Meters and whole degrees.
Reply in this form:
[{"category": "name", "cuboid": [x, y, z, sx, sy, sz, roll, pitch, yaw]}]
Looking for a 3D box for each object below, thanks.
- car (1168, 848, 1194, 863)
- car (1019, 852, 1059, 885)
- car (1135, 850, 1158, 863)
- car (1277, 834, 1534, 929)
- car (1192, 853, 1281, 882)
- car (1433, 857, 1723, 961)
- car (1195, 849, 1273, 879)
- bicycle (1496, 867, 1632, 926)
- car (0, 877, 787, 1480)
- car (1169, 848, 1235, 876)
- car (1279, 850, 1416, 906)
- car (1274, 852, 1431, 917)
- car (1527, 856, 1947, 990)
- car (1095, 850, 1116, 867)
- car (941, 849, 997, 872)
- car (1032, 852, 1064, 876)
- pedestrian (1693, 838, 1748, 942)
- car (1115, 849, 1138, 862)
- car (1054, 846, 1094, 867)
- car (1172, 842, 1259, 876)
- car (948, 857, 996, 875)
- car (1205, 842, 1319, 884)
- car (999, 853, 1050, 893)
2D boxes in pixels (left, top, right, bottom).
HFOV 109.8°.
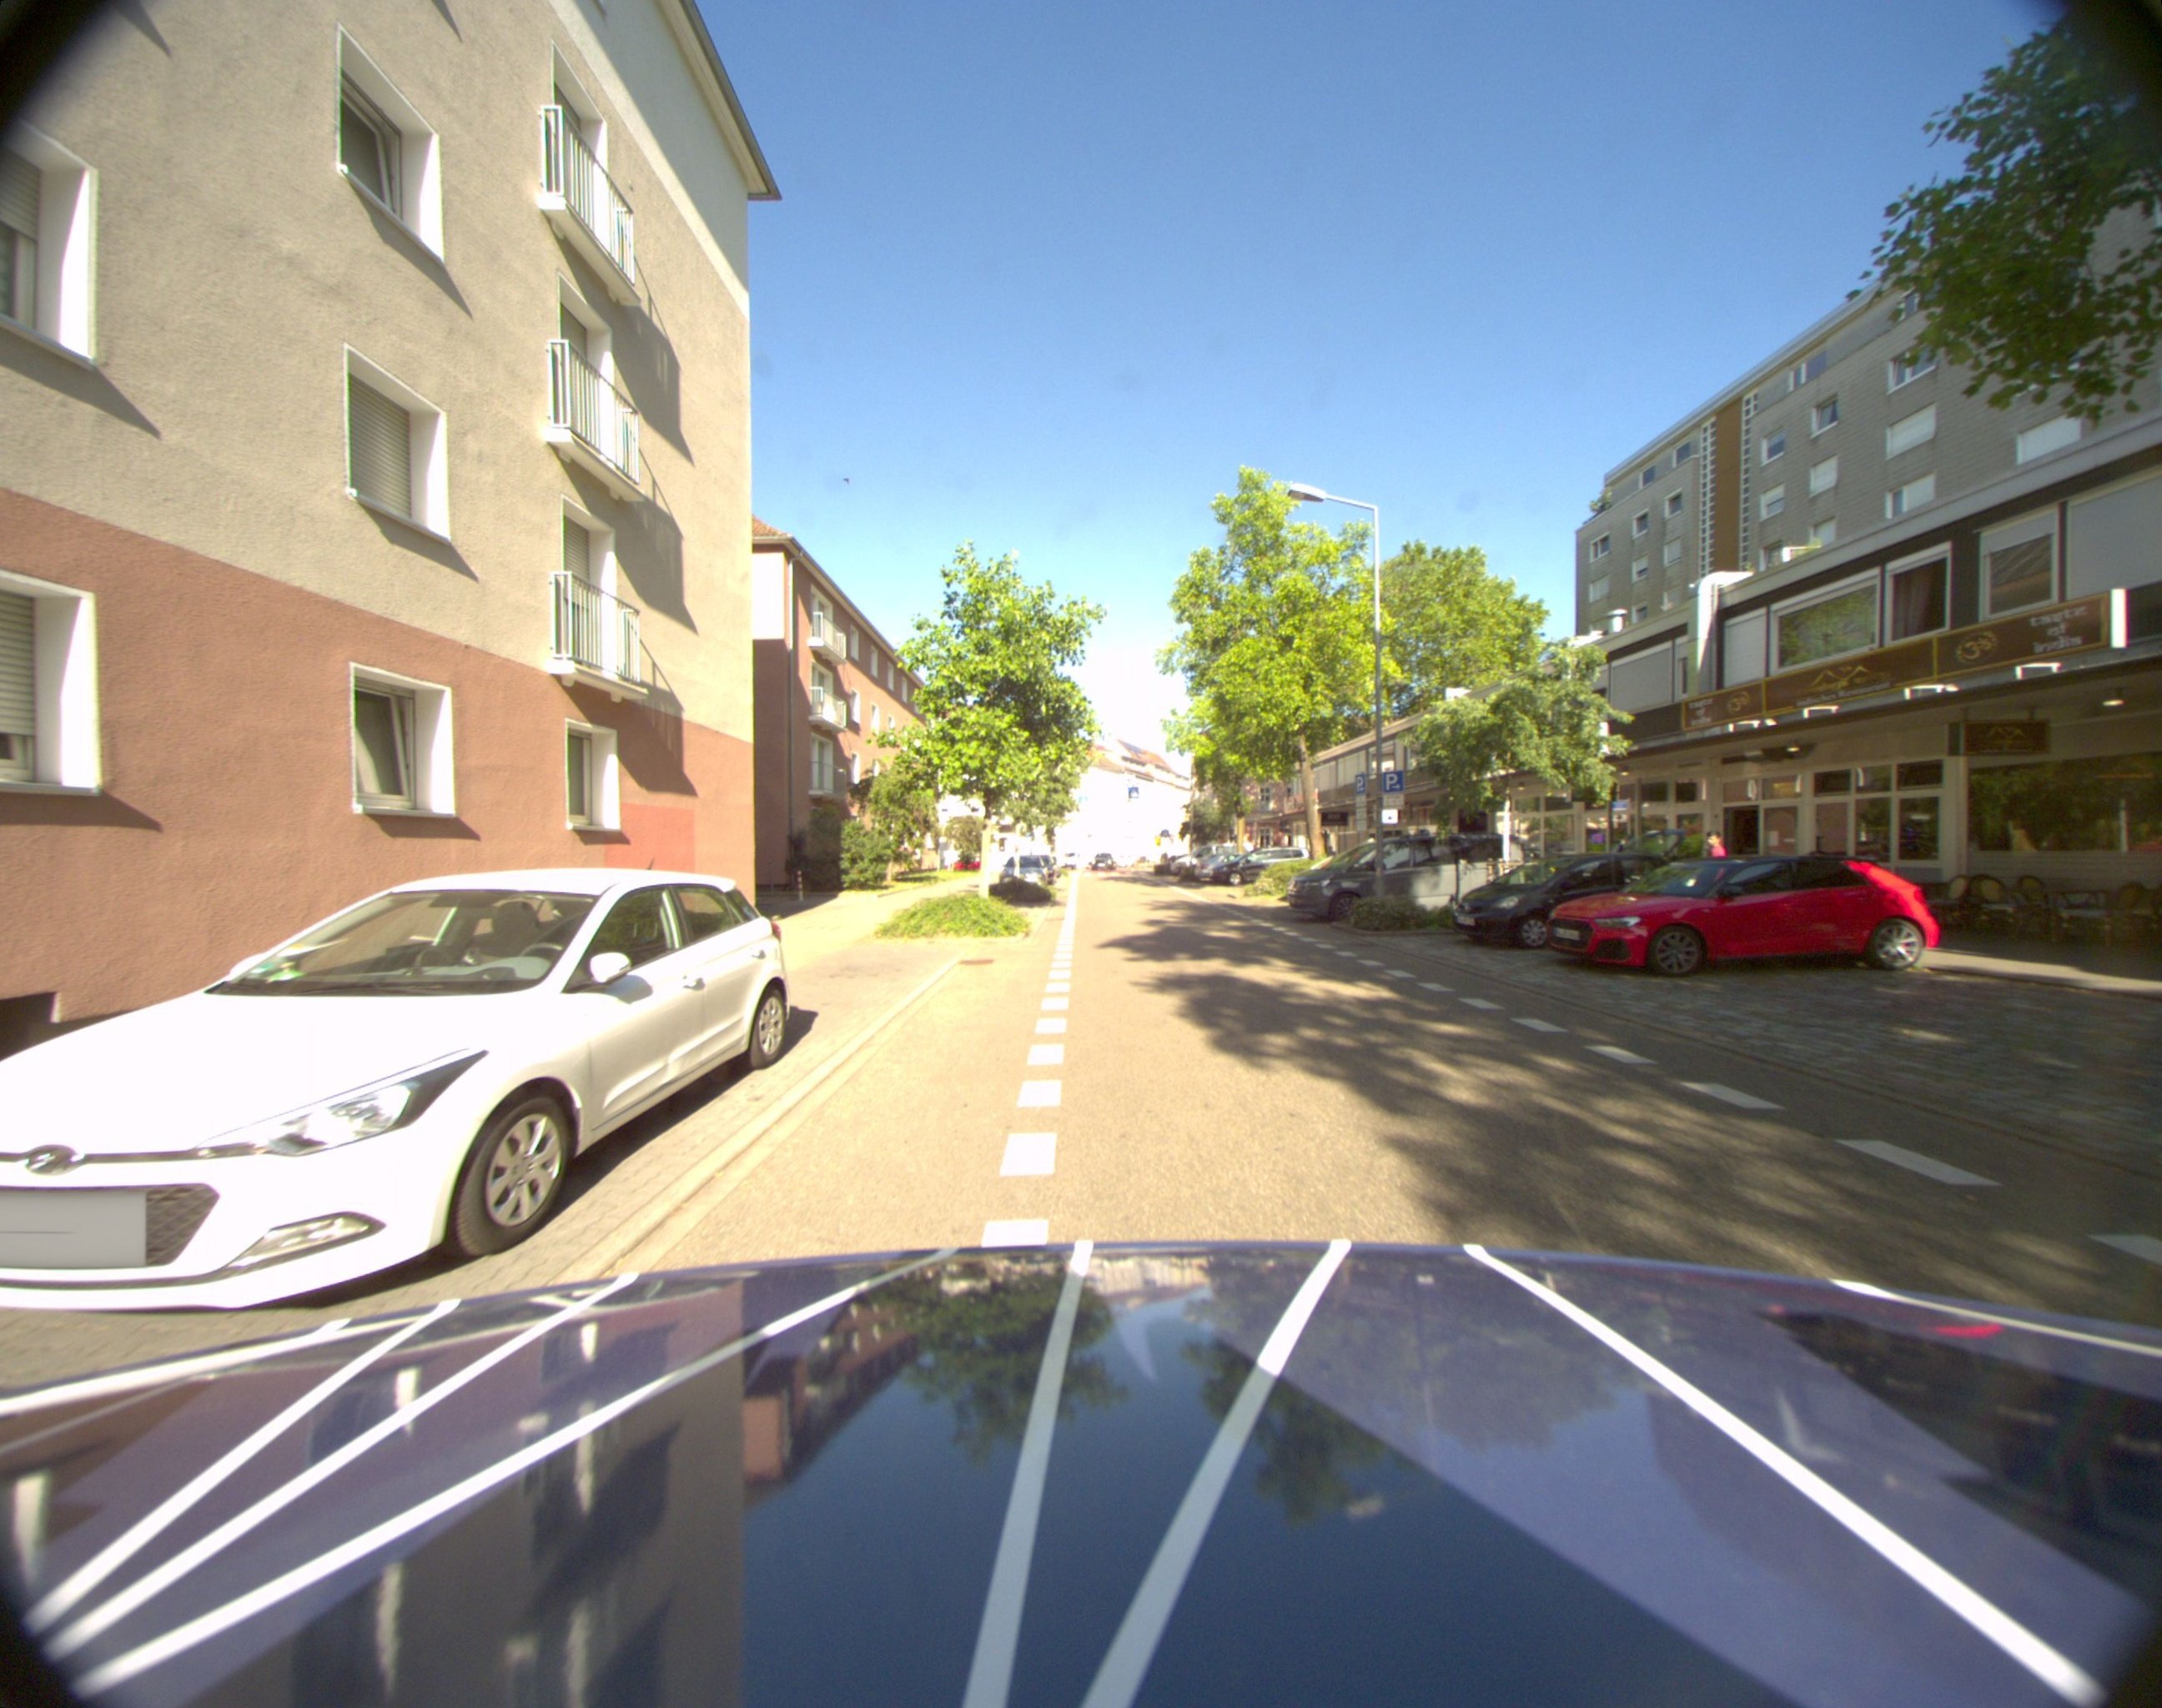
[{"category": "car", "cuboid": [11.075, 0.132, 83.961, 1.670, 1.628, 4.055, 0, 0, 24]}, {"category": "car", "cuboid": [-1.988, 0.649, 36.955, 1.662, 1.473, 4.311, 0, 0, 0]}, {"category": "car", "cuboid": [7.444, 0.251, 86.382, 1.632, 1.412, 3.299, 0, 1, 23]}, {"category": "car", "cuboid": [7.285, 0.584, 17.430, 5.043, 1.927, 1.873, -2, 1, 0]}, {"category": "car", "cuboid": [7.648, 0.653, 37.595, 3.998, 1.390, 1.759, 0, 0, -2]}, {"category": "car", "cuboid": [7.906, 0.833, 12.288, 3.676, 1.442, 1.612, -2, 1, -3]}, {"category": "car", "cuboid": [8.608, 0.545, 43.028, 3.998, 1.413, 1.736, -3, 1, -2]}, {"category": "bicycle", "cuboid": [9.955, 0.861, 15.729, 2.241, 1.161, 0.801, 0, 1, 5]}, {"category": "car", "cuboid": [-3.111, 0.952, 3.953, 1.736, 1.477, 3.794, 1, 0, -1]}, {"category": "car", "cuboid": [7.928, 0.514, 50.007, 3.997, 1.781, 1.757, 0, 1, -1]}, {"category": "car", "cuboid": [8.096, 0.706, 23.268, 3.595, 1.552, 1.672, -2, 1, 0]}, {"category": "car", "cuboid": [7.147, 0.770, 20.230, 3.567, 1.545, 1.661, -2, 1, -1]}, {"category": "car", "cuboid": [8.194, 0.810, 9.746, 3.928, 1.442, 1.709, -1, 1, -1]}, {"category": "car", "cuboid": [2.068, 0.417, 65.634, 1.612, 1.444, 3.295, 1, -1, -1]}, {"category": "car", "cuboid": [-9.792, 0.558, 66.755, 4.756, 2.002, 1.999, 0, 1, -4]}, {"category": "car", "cuboid": [-2.007, 0.609, 47.400, 1.736, 1.420, 4.000, 0, 0, 1]}, {"category": "pedestrian", "cuboid": [10.843, 0.591, 12.907, 0.579, 1.702, 0.636, 0, 1, 28]}, {"category": "car", "cuboid": [5.228, 0.196, 87.628, 1.632, 1.412, 3.299, 0, 1, 23]}, {"category": "car", "cuboid": [-0.630, 0.211, 72.699, 1.908, 1.924, 4.817, 0, 0, 26]}, {"category": "car", "cuboid": [8.341, 0.321, 47.431, 4.996, 1.958, 1.909, -1, 1, -2]}, {"category": "car", "cuboid": [-8.768, 0.943, 61.382, 3.648, 1.394, 1.568, 0, 1, 0]}, {"category": "car", "cuboid": [8.294, 0.408, 35.060, 4.781, 1.767, 1.873, -1, 1, -2]}, {"category": "car", "cuboid": [-2.216, 0.712, 30.691, 1.720, 1.445, 3.999, 1, 1, 0]}]
